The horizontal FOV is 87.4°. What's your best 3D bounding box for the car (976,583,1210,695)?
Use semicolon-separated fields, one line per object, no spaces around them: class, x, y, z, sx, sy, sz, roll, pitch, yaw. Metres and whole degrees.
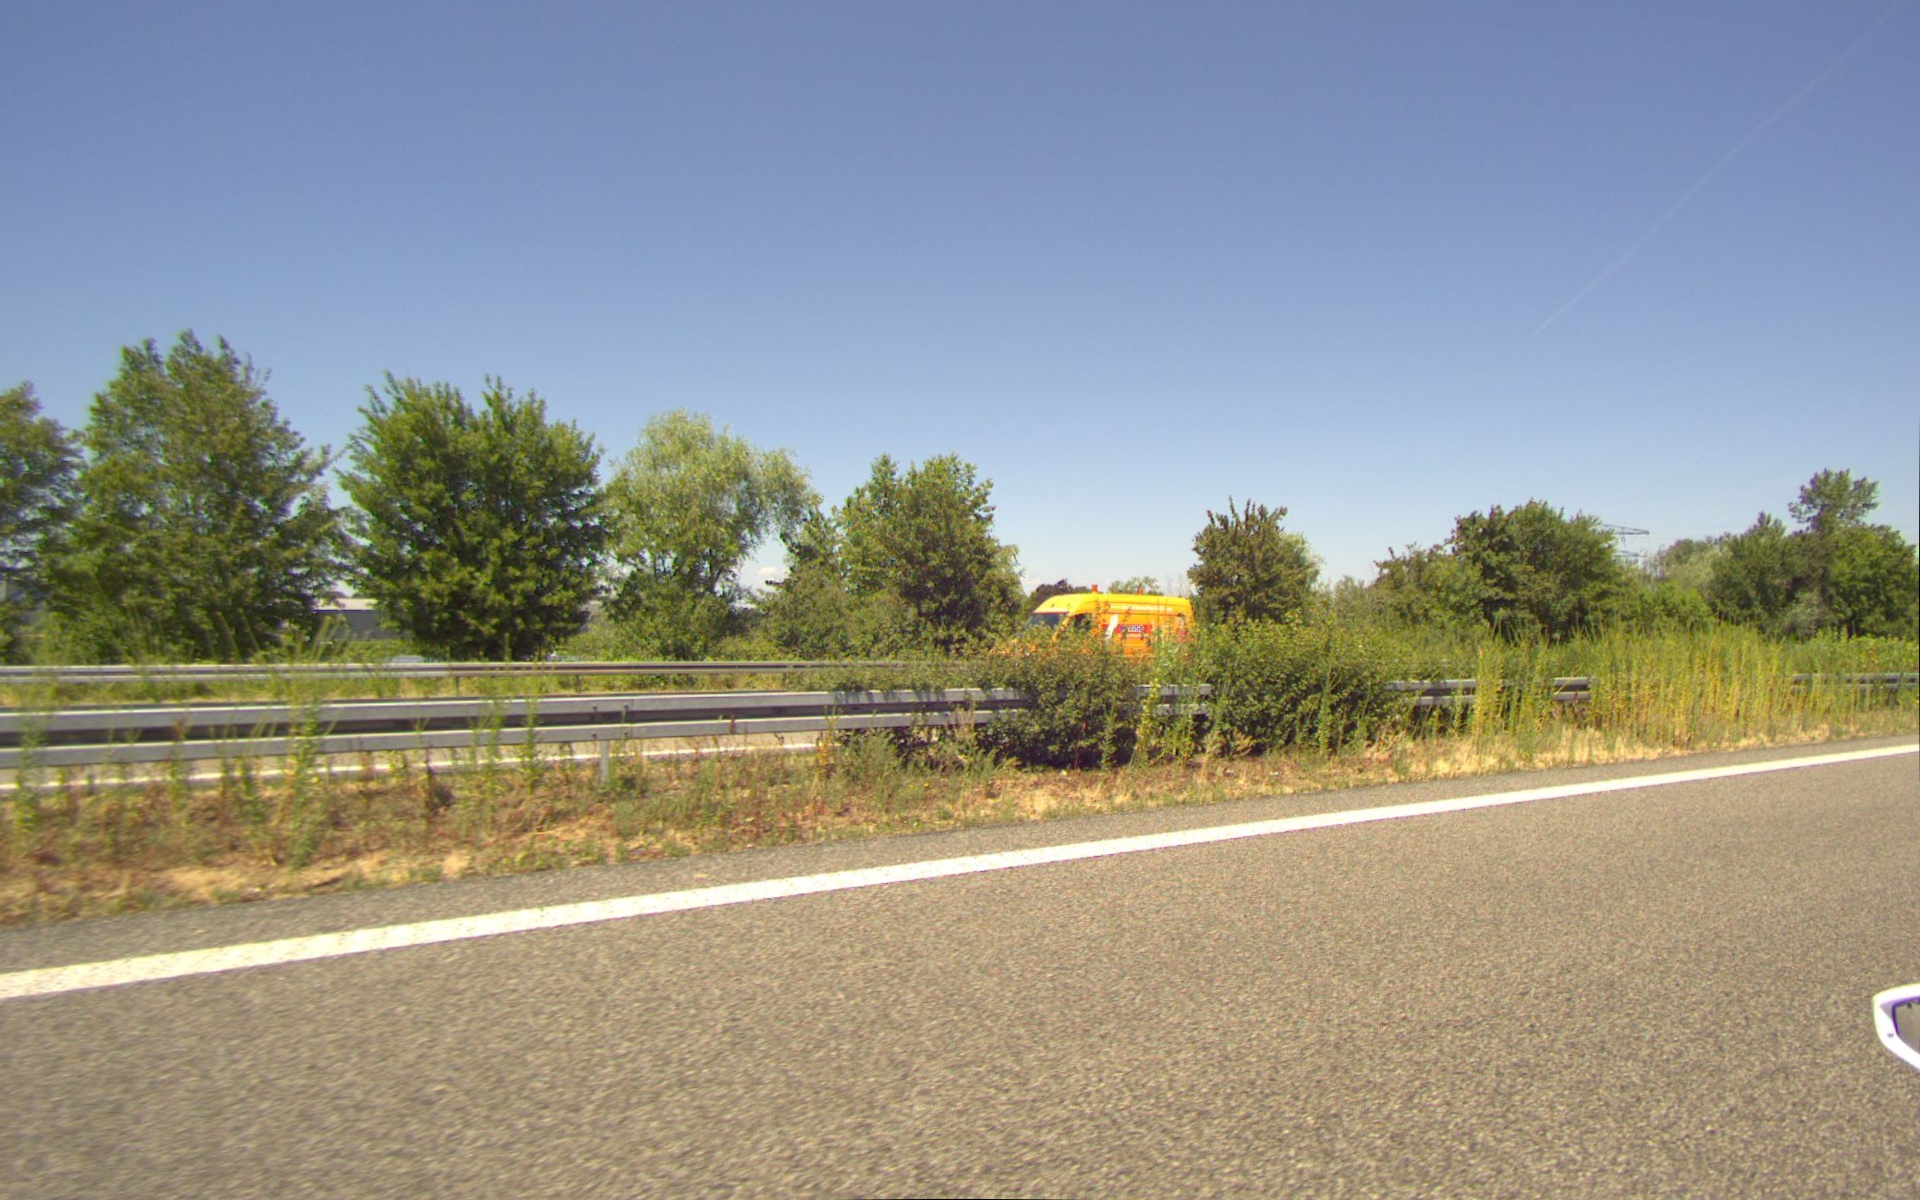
car;3.502;0.945;25.765;6.119;2.591;2.090;0;-1;-33
